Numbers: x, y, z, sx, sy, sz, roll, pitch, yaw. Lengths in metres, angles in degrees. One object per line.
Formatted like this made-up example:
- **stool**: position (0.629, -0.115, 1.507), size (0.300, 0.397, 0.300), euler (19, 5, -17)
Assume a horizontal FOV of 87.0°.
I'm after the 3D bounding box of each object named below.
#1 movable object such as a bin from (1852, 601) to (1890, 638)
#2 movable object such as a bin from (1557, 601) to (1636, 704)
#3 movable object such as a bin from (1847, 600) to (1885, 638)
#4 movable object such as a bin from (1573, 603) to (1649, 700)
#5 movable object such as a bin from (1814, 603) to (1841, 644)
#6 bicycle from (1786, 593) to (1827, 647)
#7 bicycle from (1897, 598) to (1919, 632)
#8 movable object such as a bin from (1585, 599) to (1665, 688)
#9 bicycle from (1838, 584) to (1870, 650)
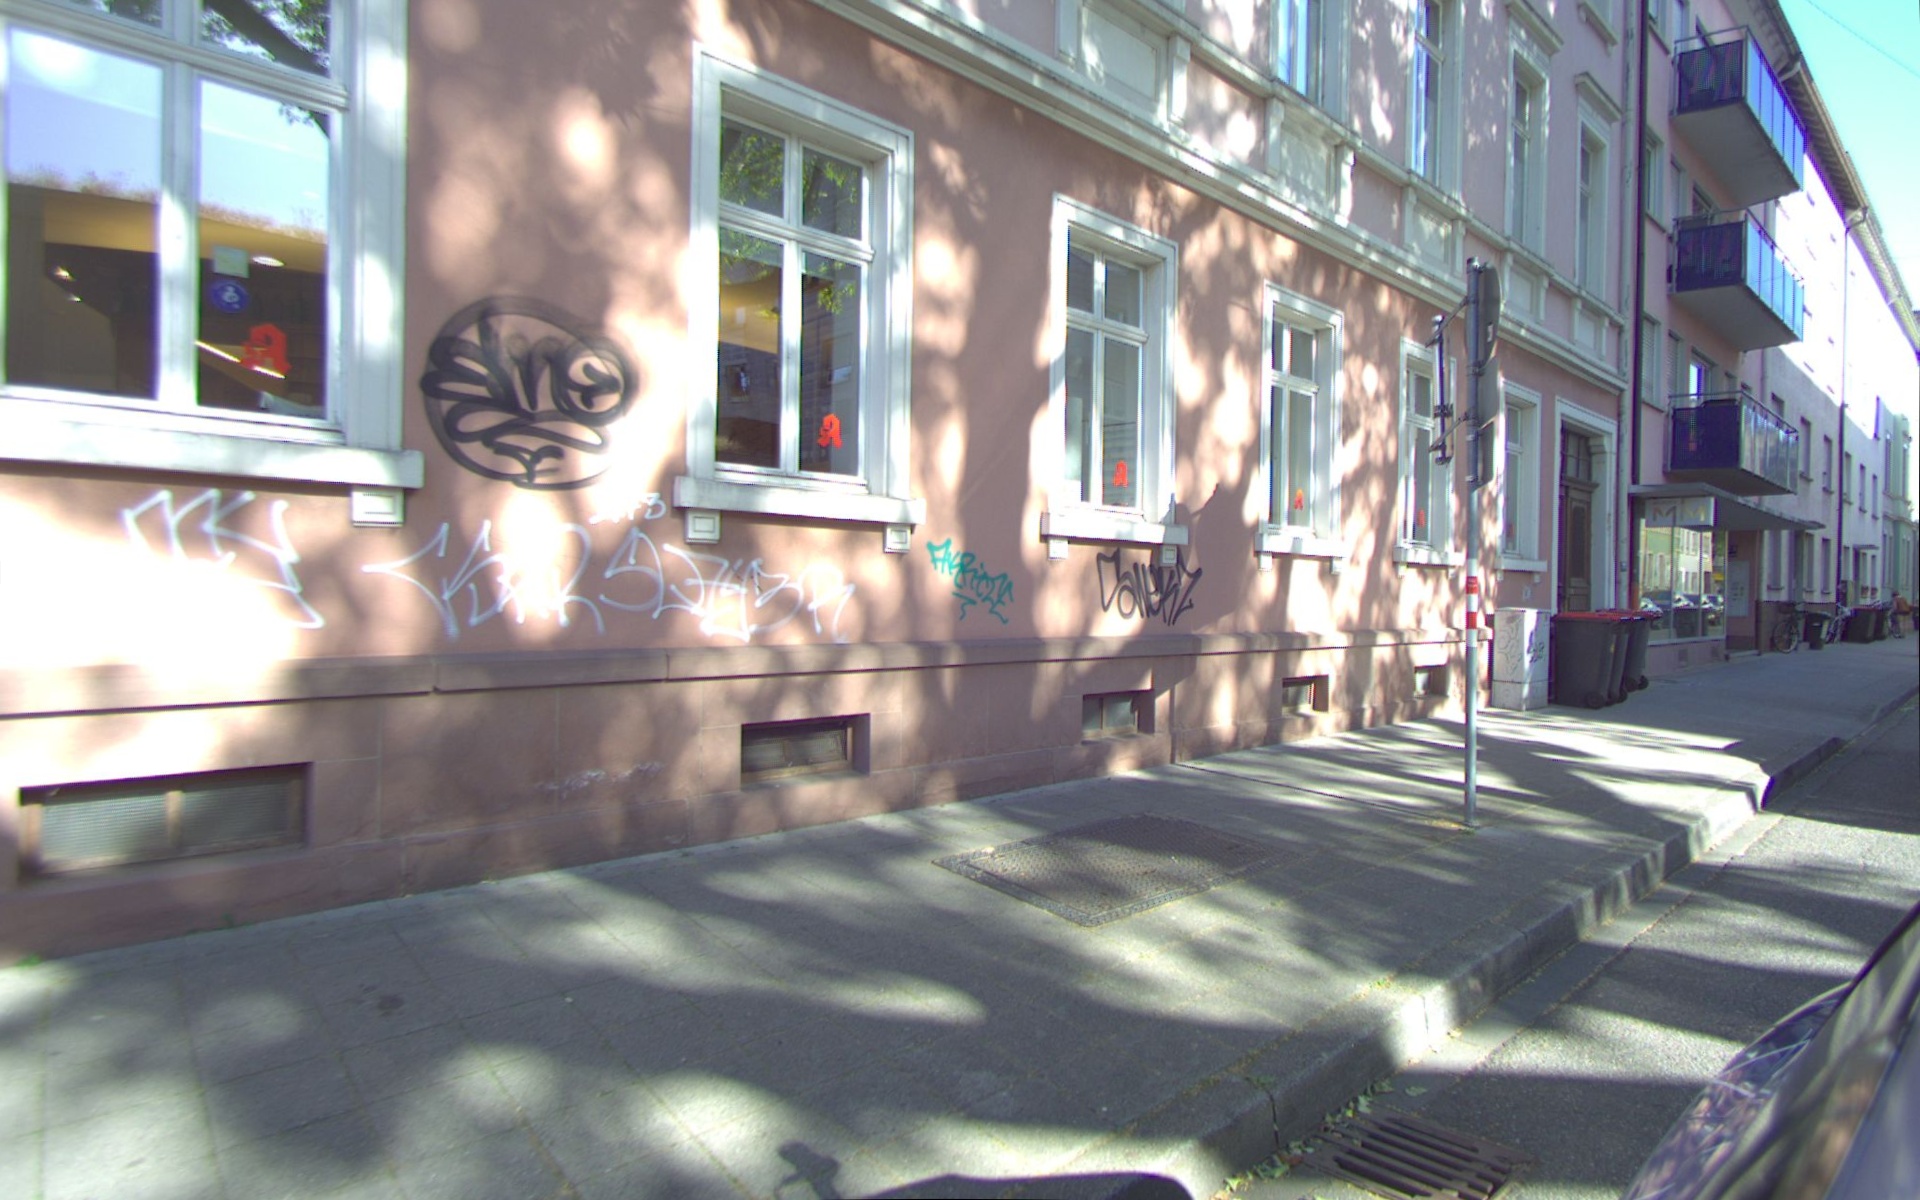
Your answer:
- **movable object such as a bin**: position (26.410, 0.550, 29.343), size (0.537, 1.014, 0.716), euler (0, 3, -43)
- **movable object such as a bin**: position (7.267, 0.576, 11.555), size (0.643, 1.097, 0.570), euler (0, 3, -43)
- **movable object such as a bin**: position (25.939, 0.531, 28.968), size (0.537, 1.014, 0.716), euler (0, 3, -43)
- **movable object such as a bin**: position (7.709, 0.591, 11.984), size (0.601, 1.071, 0.570), euler (0, 3, -43)
- **movable object such as a bin**: position (20.856, 0.560, 24.319), size (0.297, 0.951, 0.415), euler (0, 3, -43)
- **bicycle**: position (18.989, 0.424, 22.685), size (1.989, 1.165, 0.402), euler (0, 1, -41)
- **bicycle**: position (32.144, 0.498, 34.214), size (1.899, 1.110, 0.489), euler (0, 1, -41)
- **movable object such as a bin**: position (8.875, 0.558, 13.511), size (0.608, 1.097, 0.717), euler (0, 3, -43)
- **bicycle**: position (24.599, 0.447, 27.838), size (2.070, 1.757, 0.402), euler (0, 0, -41)
